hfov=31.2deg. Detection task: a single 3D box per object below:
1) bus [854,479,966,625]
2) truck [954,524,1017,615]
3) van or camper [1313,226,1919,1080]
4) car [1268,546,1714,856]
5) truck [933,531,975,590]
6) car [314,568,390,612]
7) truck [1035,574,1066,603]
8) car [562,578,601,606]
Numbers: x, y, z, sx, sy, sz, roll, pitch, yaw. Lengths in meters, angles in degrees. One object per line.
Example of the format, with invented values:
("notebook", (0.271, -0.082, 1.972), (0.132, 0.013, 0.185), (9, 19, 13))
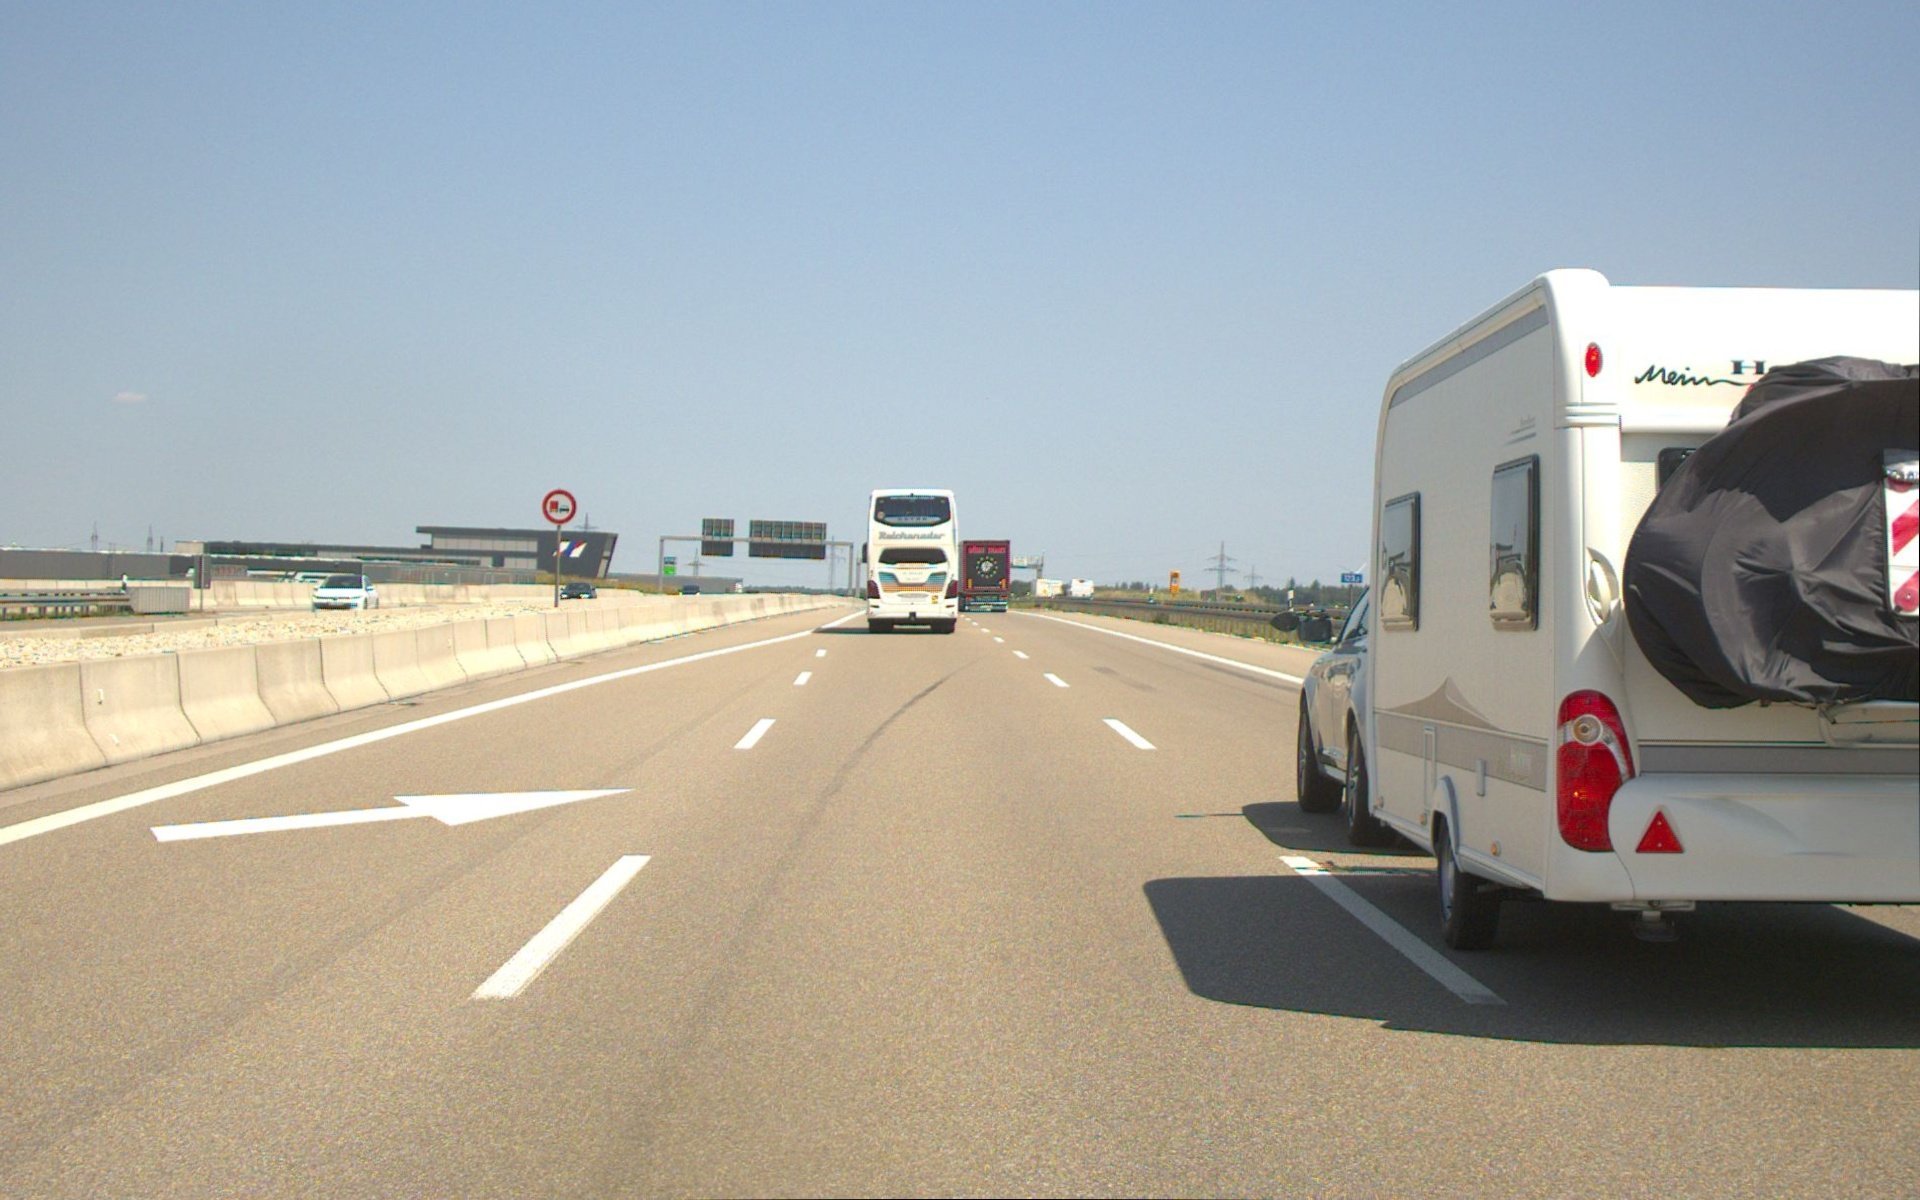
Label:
("bus", (-1.519, -1.360, 99.158), (2.980, 3.961, 9.105), (1, 1, -2))
("truck", (1.480, -1.647, 195.835), (3.379, 4.449, 13.565), (1, -2, 1))
("van or camper", (3.118, 0.128, 14.362), (2.512, 2.584, 7.817), (1, 1, 0))
("car", (3.036, 0.517, 20.682), (1.880, 1.617, 4.904), (1, 0, 0))
("truck", (-0.389, -2.560, 223.029), (2.437, 3.776, 6.494), (1, 0, -2))
("car", (-20.581, -0.354, 116.434), (1.809, 1.430, 4.442), (1, 0, -1))
("truck", (6.353, -0.812, 241.370), (1.993, 2.007, 4.000), (1, 1, -1))
("car", (-21.256, -0.450, 193.221), (1.732, 1.531, 4.549), (1, 0, -1))
